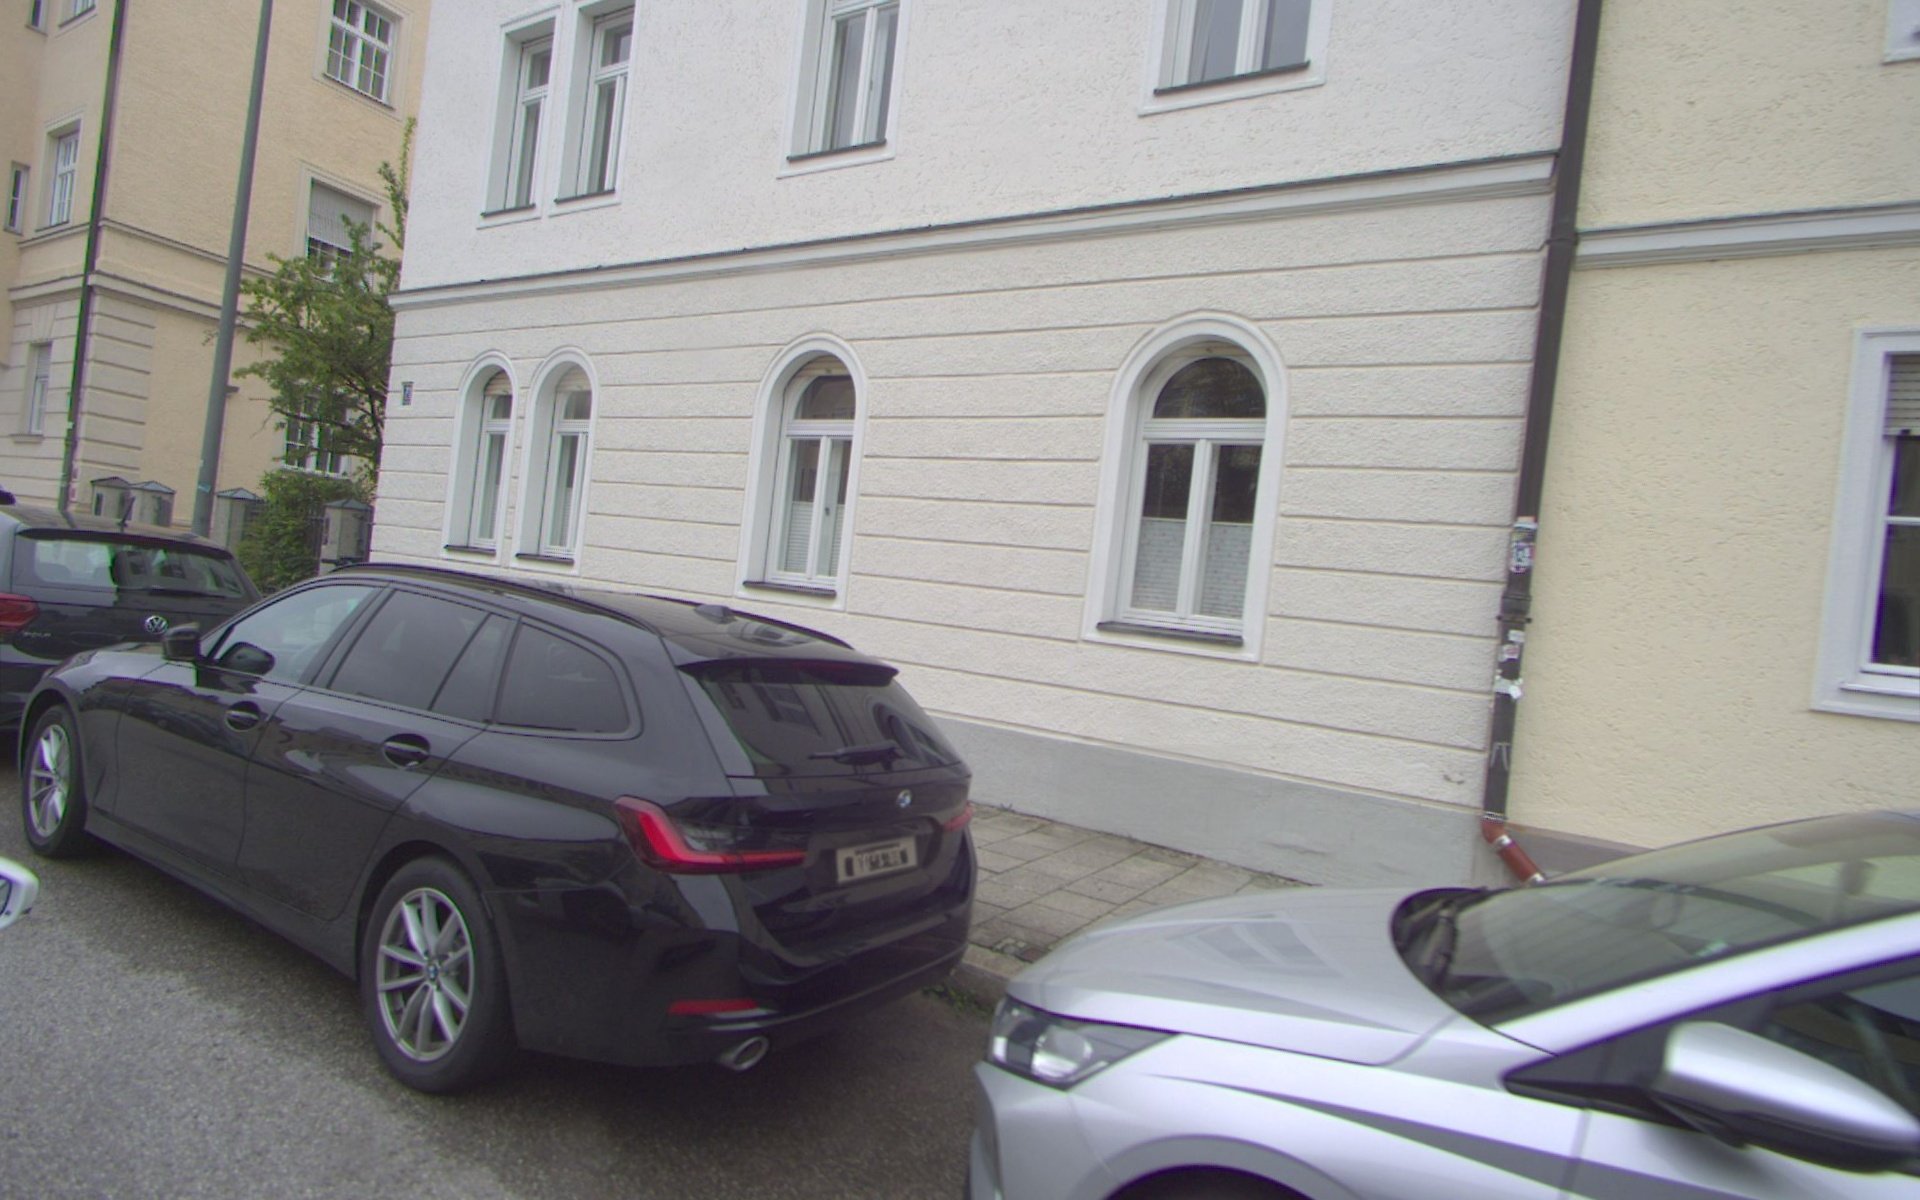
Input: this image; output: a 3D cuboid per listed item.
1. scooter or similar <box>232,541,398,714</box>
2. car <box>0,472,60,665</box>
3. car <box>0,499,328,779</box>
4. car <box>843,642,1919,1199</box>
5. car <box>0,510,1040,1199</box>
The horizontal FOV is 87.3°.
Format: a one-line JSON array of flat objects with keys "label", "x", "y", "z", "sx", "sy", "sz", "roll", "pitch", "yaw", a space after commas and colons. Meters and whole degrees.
[{"label": "scooter or similar", "x": -4.955, "y": 0.205, "z": 7.722, "sx": 1.152, "sy": 1.178, "sz": 0.485, "roll": 6, "pitch": -1, "yaw": 29}, {"label": "car", "x": -10.404, "y": -0.526, "z": 9.369, "sx": 4.383, "sy": 1.654, "sz": 1.725, "roll": 7, "pitch": -1, "yaw": 31}, {"label": "car", "x": -6.295, "y": 0.075, "z": 6.826, "sx": 4.019, "sy": 1.444, "sz": 1.682, "roll": 7, "pitch": -1, "yaw": 31}, {"label": "car", "x": 1.976, "y": 1.074, "z": 1.746, "sx": 4.097, "sy": 1.444, "sz": 1.682, "roll": 7, "pitch": -1, "yaw": 30}, {"label": "car", "x": -2.050, "y": 0.602, "z": 4.086, "sx": 4.317, "sy": 1.444, "sz": 1.682, "roll": 7, "pitch": -1, "yaw": 30}]
